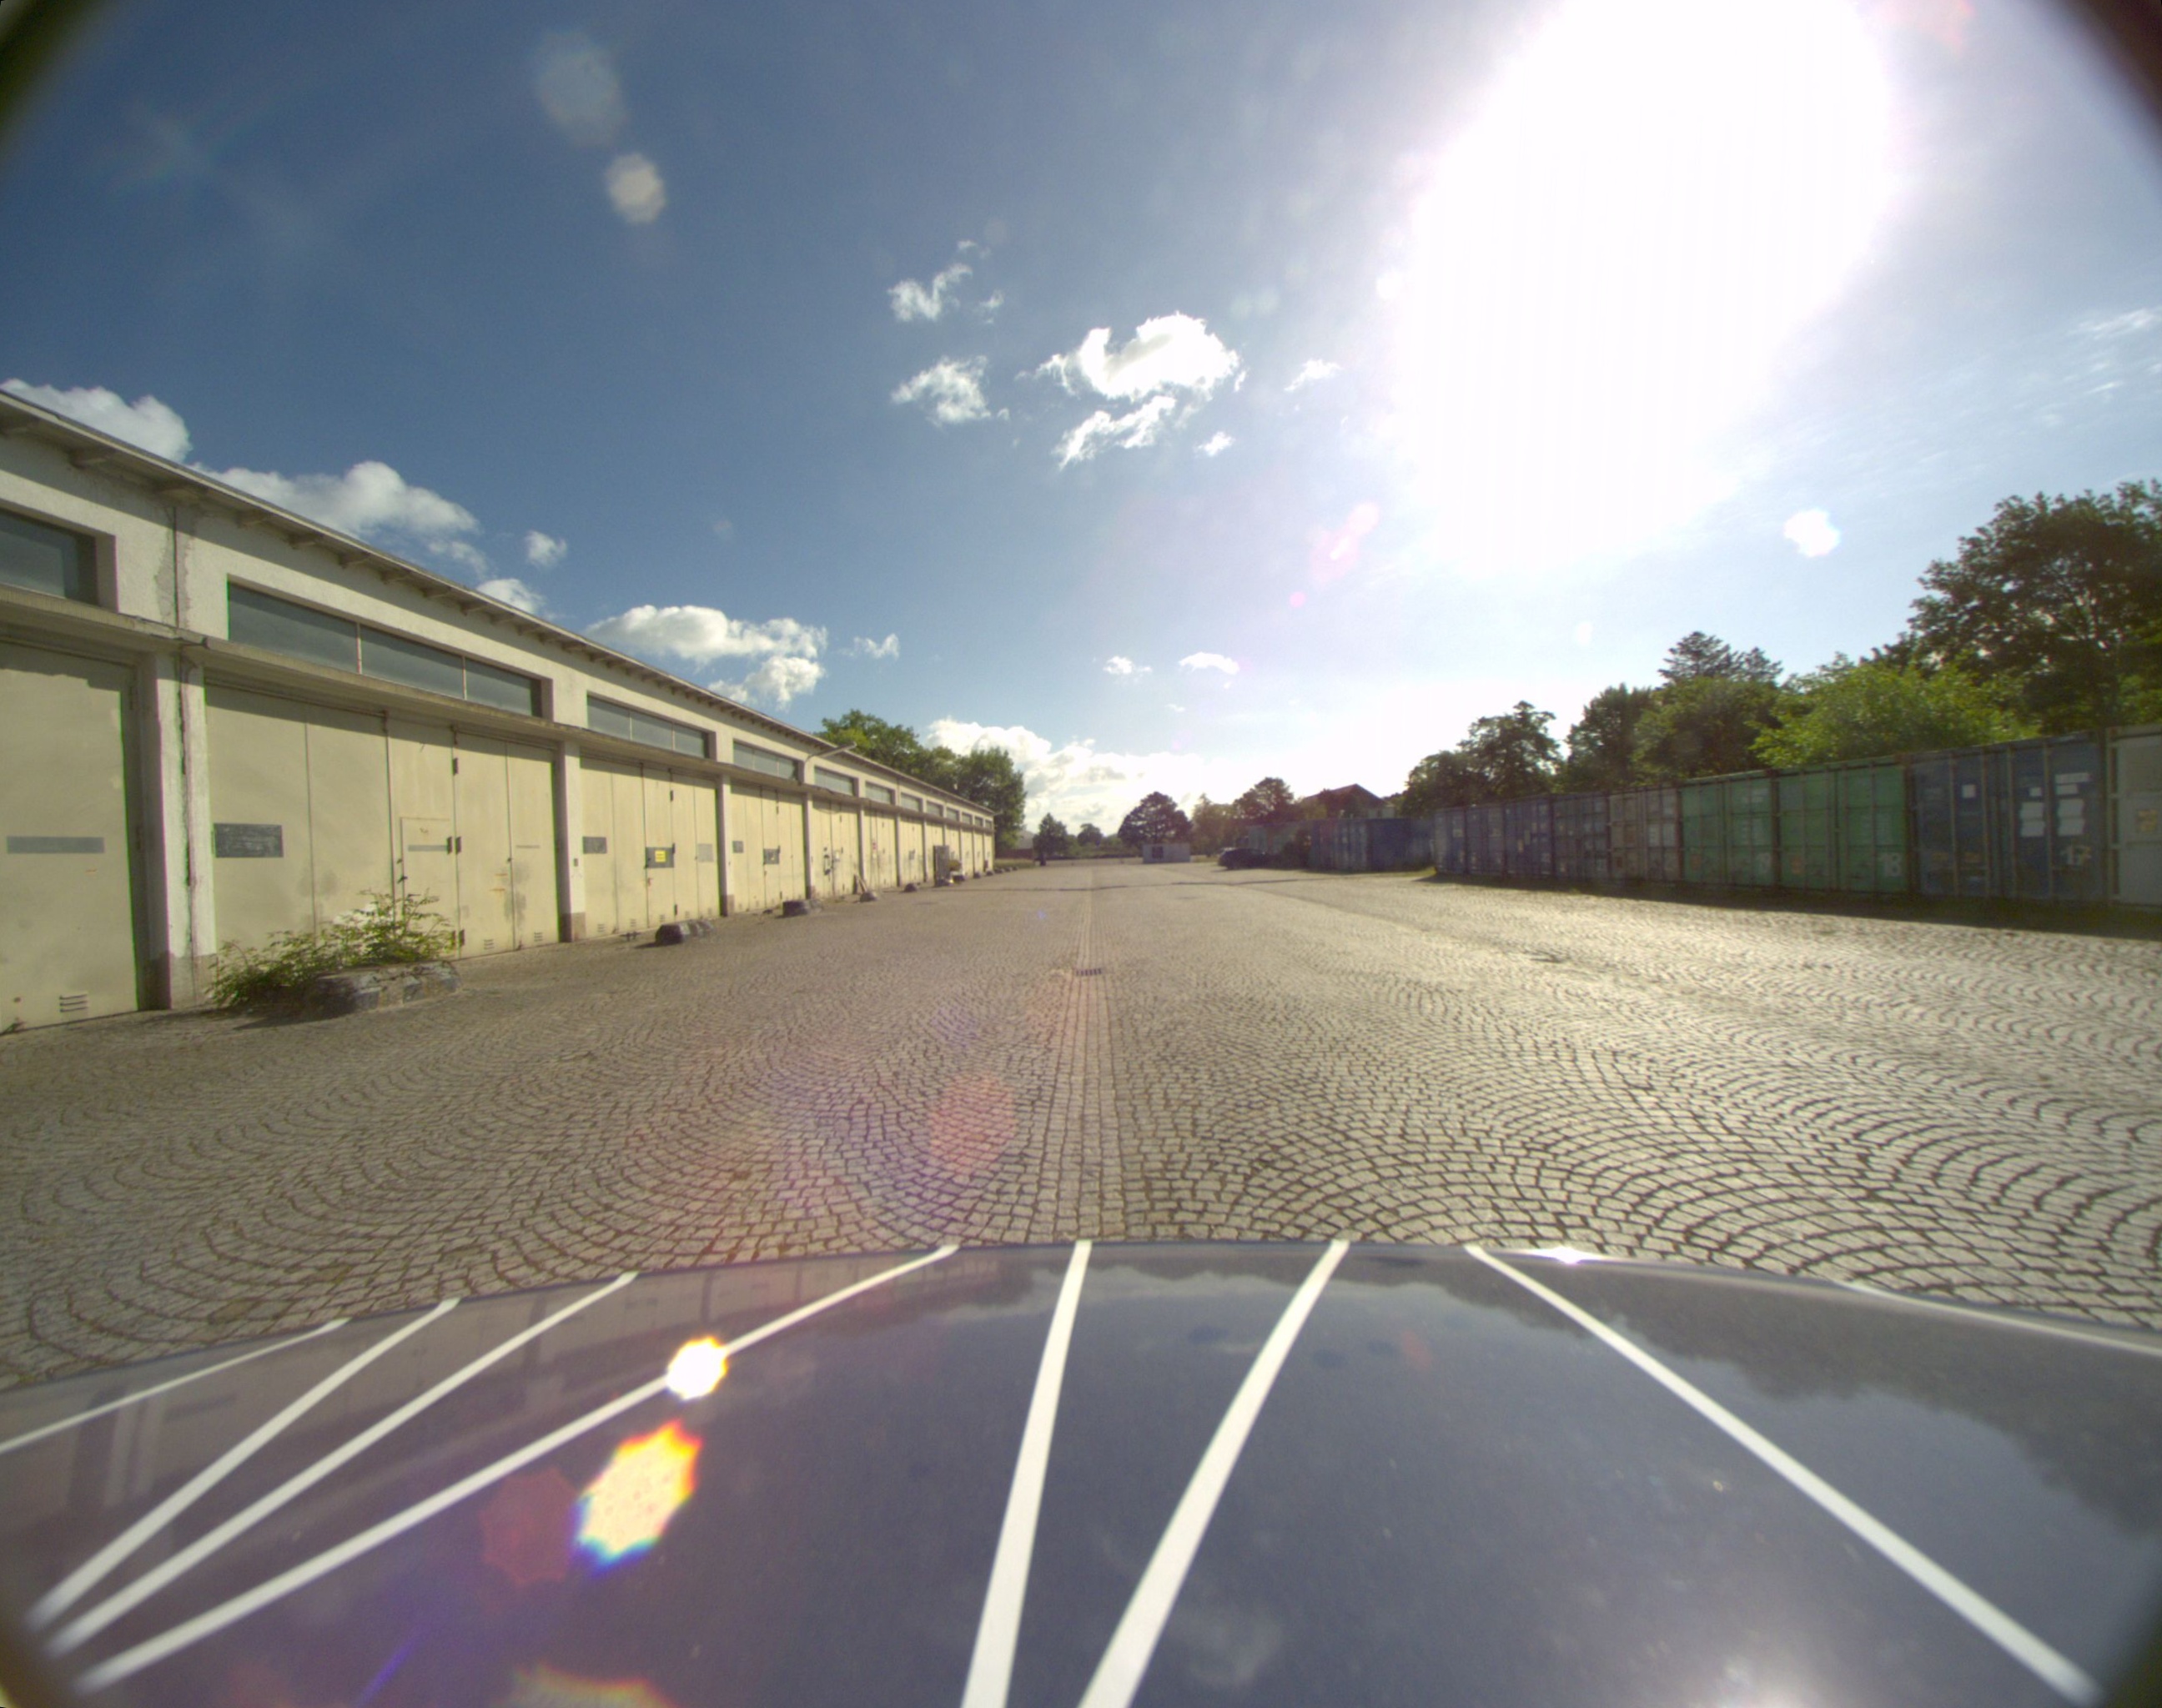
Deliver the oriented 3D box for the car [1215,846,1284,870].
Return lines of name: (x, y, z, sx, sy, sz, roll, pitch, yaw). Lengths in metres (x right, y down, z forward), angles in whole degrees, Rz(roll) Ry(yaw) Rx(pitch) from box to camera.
car: (11.443, 0.243, 51.796, 4.112, 1.289, 1.999, -4, 1, -1)
